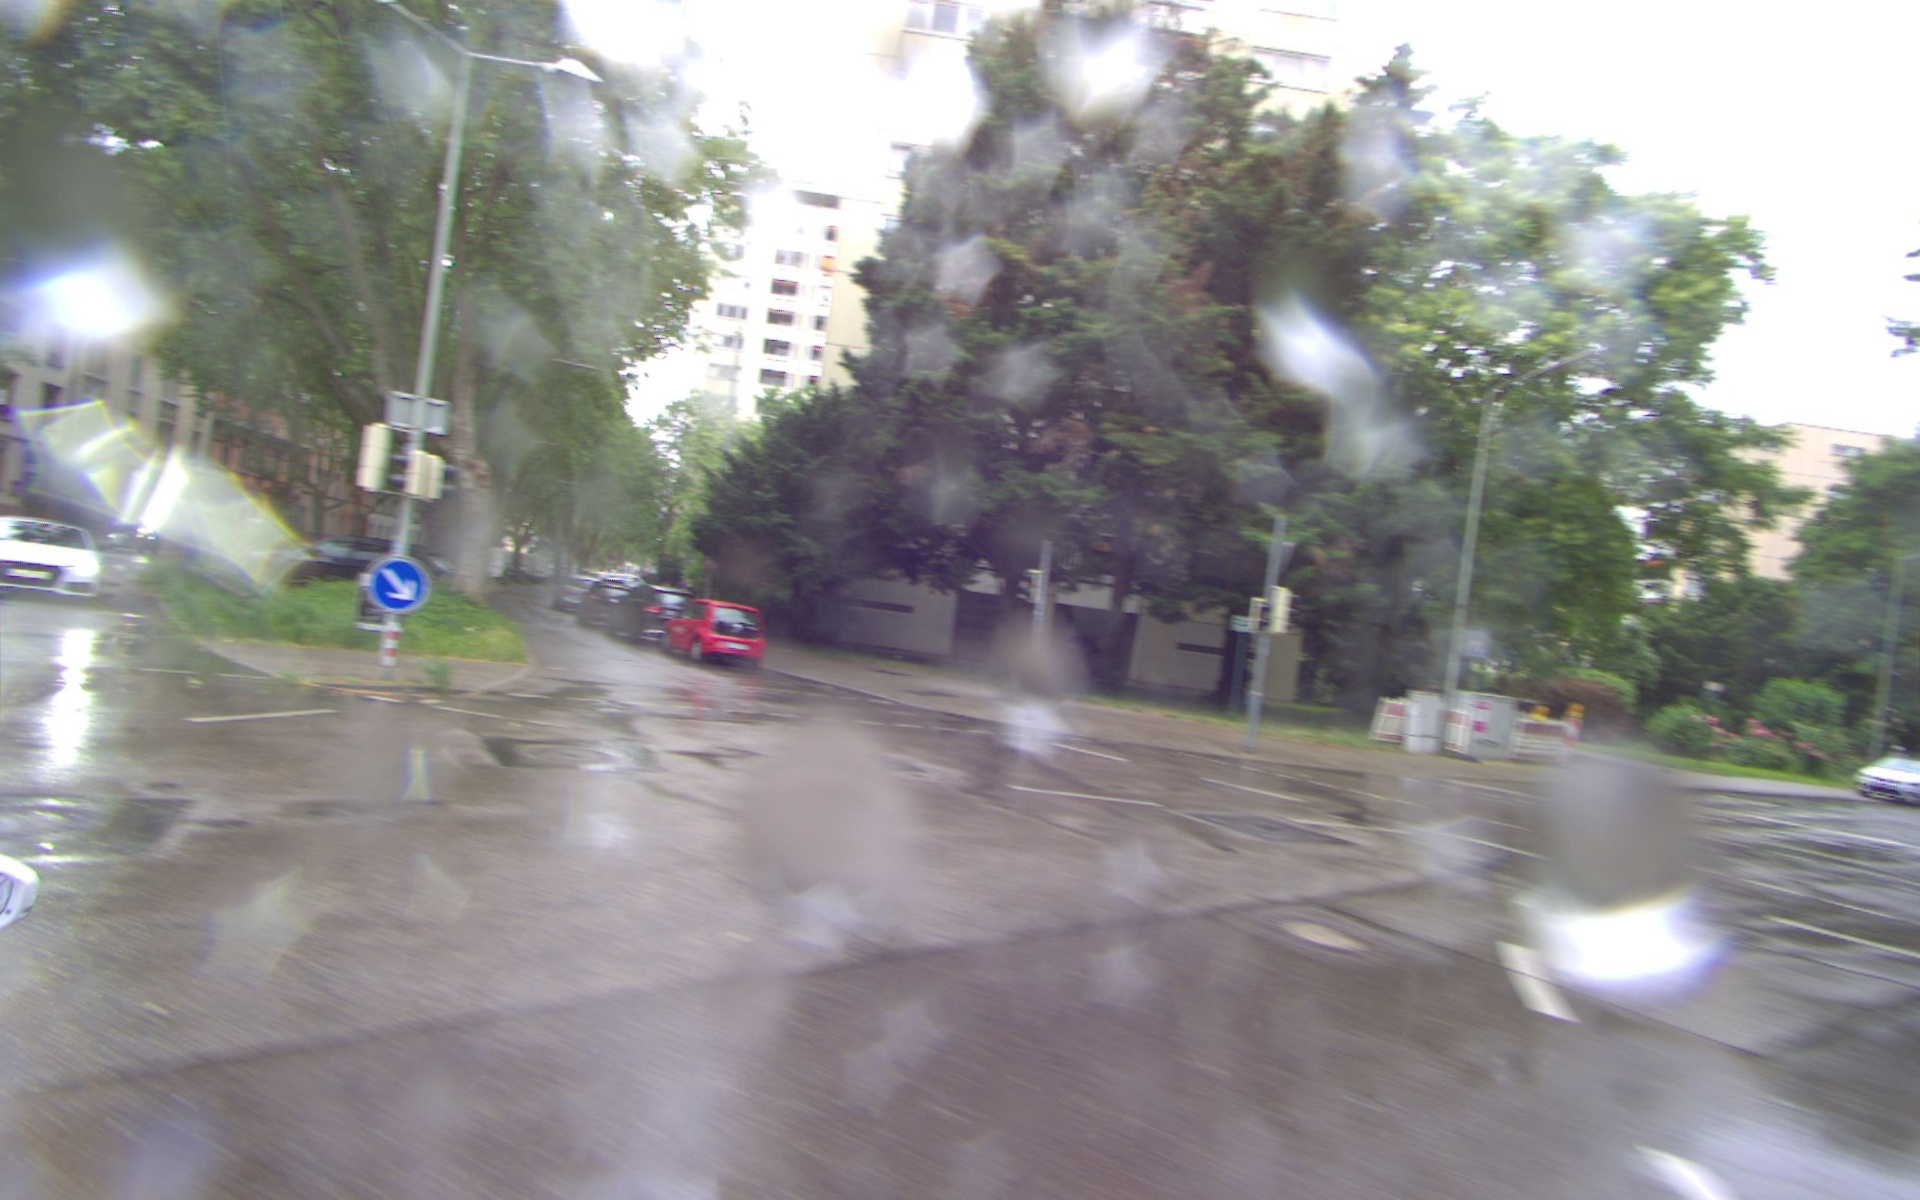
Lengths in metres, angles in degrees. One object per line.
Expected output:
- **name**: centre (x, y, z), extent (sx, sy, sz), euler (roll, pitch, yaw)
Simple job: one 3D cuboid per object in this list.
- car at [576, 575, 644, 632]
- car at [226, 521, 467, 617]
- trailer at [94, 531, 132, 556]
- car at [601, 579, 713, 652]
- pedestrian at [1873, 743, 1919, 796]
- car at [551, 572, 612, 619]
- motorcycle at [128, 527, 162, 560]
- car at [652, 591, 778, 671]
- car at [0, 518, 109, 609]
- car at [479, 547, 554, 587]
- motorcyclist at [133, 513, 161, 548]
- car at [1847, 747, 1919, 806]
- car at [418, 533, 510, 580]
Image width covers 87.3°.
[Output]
- **car**: centre (-11.922, 0.097, 34.116), extent (1.816, 1.615, 3.468), euler (8, -1, -23)
- **car**: centre (-14.974, -0.712, 24.790), extent (4.524, 1.684, 1.873), euler (8, -1, -7)
- **trailer**: centre (-35.209, -2.352, 41.830), extent (1.018, 0.852, 1.469), euler (8, -1, -35)
- **car**: centre (-8.786, 0.395, 28.900), extent (1.920, 1.627, 4.420), euler (8, -2, -31)
- **pedestrian**: centre (33.286, 5.996, 35.642), extent (0.917, 1.680, 0.938), euler (8, 0, -26)
- **car**: centre (-16.206, -0.237, 42.948), extent (1.909, 1.652, 3.975), euler (8, -1, -26)
- **motorcycle**: centre (-34.306, -2.391, 42.352), extent (0.874, 1.229, 2.054), euler (8, -1, -36)
- **car**: centre (-6.068, 0.728, 24.697), extent (1.825, 1.543, 3.431), euler (8, -2, -33)
- **car**: centre (-16.455, -0.721, 17.908), extent (1.890, 1.290, 4.125), euler (8, -2, -40)
- **car**: centre (-38.854, -2.886, 88.066), extent (5.859, 2.681, 2.002), euler (7, -1, 16)
- **motorcyclist**: centre (-34.254, -2.924, 42.382), extent (0.751, 1.367, 0.747), euler (7, -1, -37)
- **car**: centre (30.546, 5.725, 32.189), extent (4.224, 1.477, 1.810), euler (8, -1, -28)
- **car**: centre (-34.045, -2.977, 69.085), extent (5.500, 2.429, 2.235), euler (7, -1, 19)
